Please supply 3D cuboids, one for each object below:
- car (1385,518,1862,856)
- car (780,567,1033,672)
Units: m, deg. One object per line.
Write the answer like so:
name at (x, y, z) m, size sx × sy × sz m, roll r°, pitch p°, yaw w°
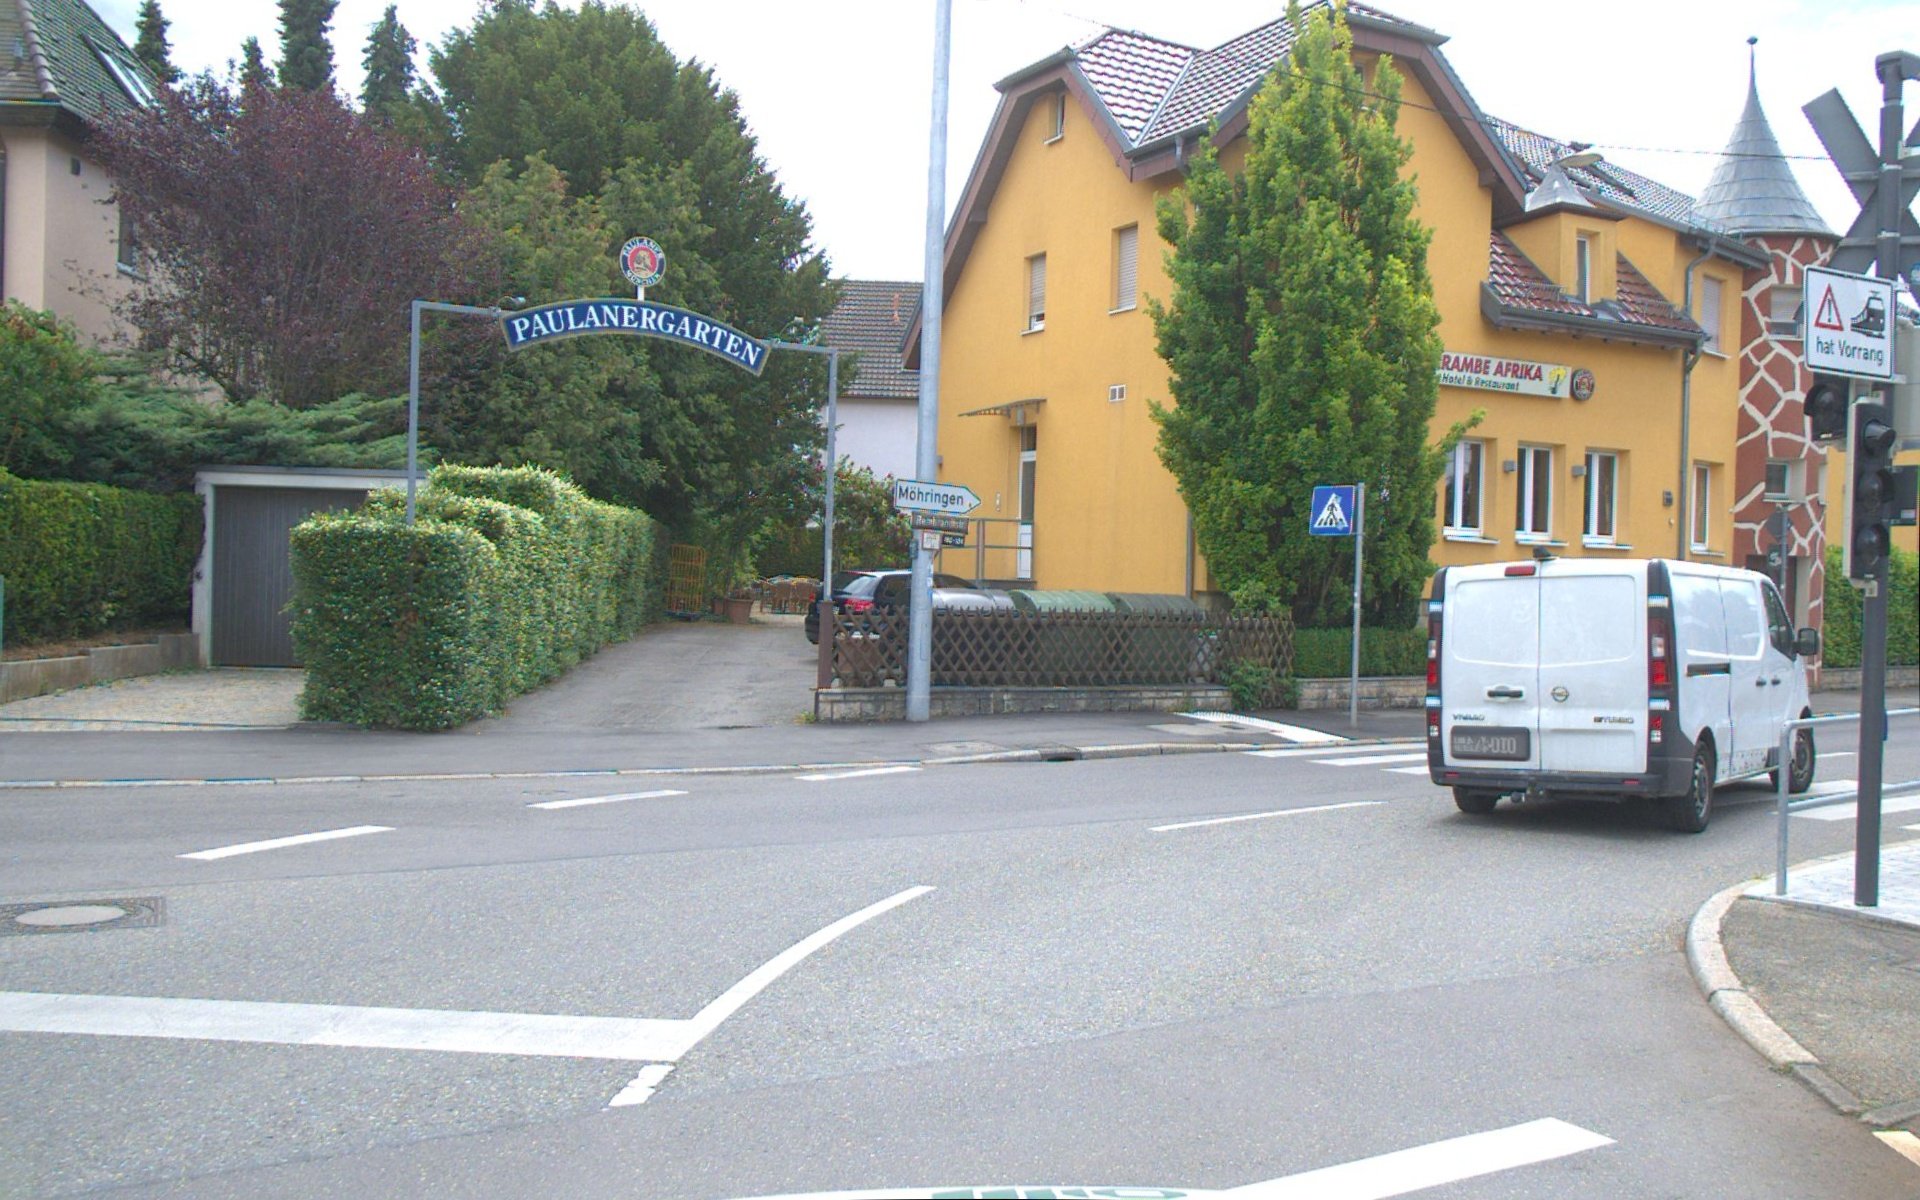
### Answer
car at (5.631, 0.554, 13.523) m, size 2.084 × 2.171 × 5.414 m, roll 3°, pitch 1°, yaw 39°
car at (-0.815, 0.262, 25.956) m, size 3.638 × 1.451 × 1.706 m, roll 0°, pitch 4°, yaw -36°
